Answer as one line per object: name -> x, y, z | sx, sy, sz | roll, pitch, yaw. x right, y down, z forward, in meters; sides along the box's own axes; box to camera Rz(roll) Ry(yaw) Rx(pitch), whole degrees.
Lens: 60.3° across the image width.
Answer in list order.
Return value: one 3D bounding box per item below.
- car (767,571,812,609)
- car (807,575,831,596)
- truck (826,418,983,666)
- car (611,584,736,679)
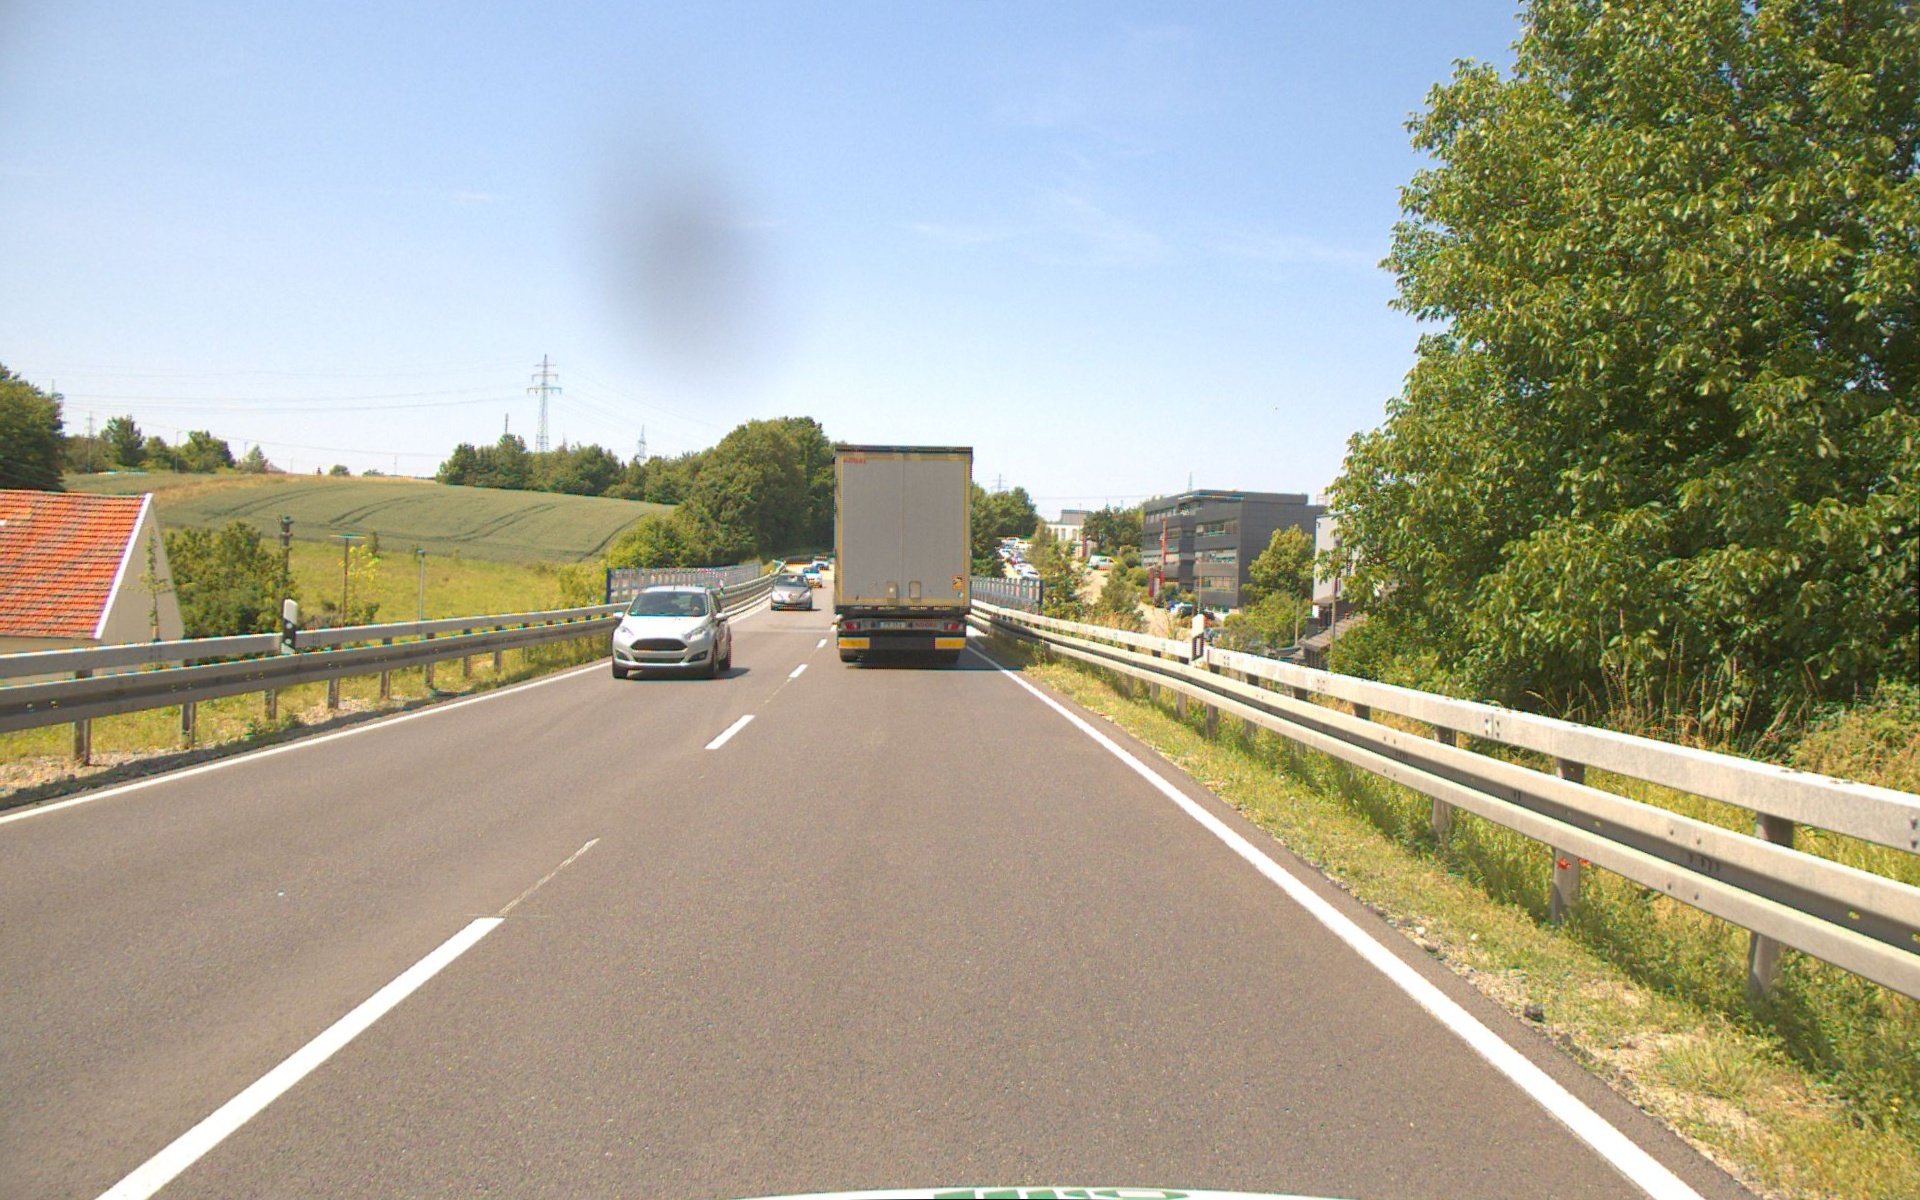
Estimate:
car -> -7.543, -0.437, 73.347 | 1.770, 1.617, 4.377 | 0, 0, -3
car -> -10.473, -1.105, 123.081 | 1.673, 1.531, 4.116 | 0, 1, -4
truck -> -1.306, -1.049, 34.564 | 2.809, 4.436, 9.781 | 0, 0, -4
car -> -4.792, 0.477, 28.128 | 1.613, 1.466, 4.156 | 0, 1, -3
